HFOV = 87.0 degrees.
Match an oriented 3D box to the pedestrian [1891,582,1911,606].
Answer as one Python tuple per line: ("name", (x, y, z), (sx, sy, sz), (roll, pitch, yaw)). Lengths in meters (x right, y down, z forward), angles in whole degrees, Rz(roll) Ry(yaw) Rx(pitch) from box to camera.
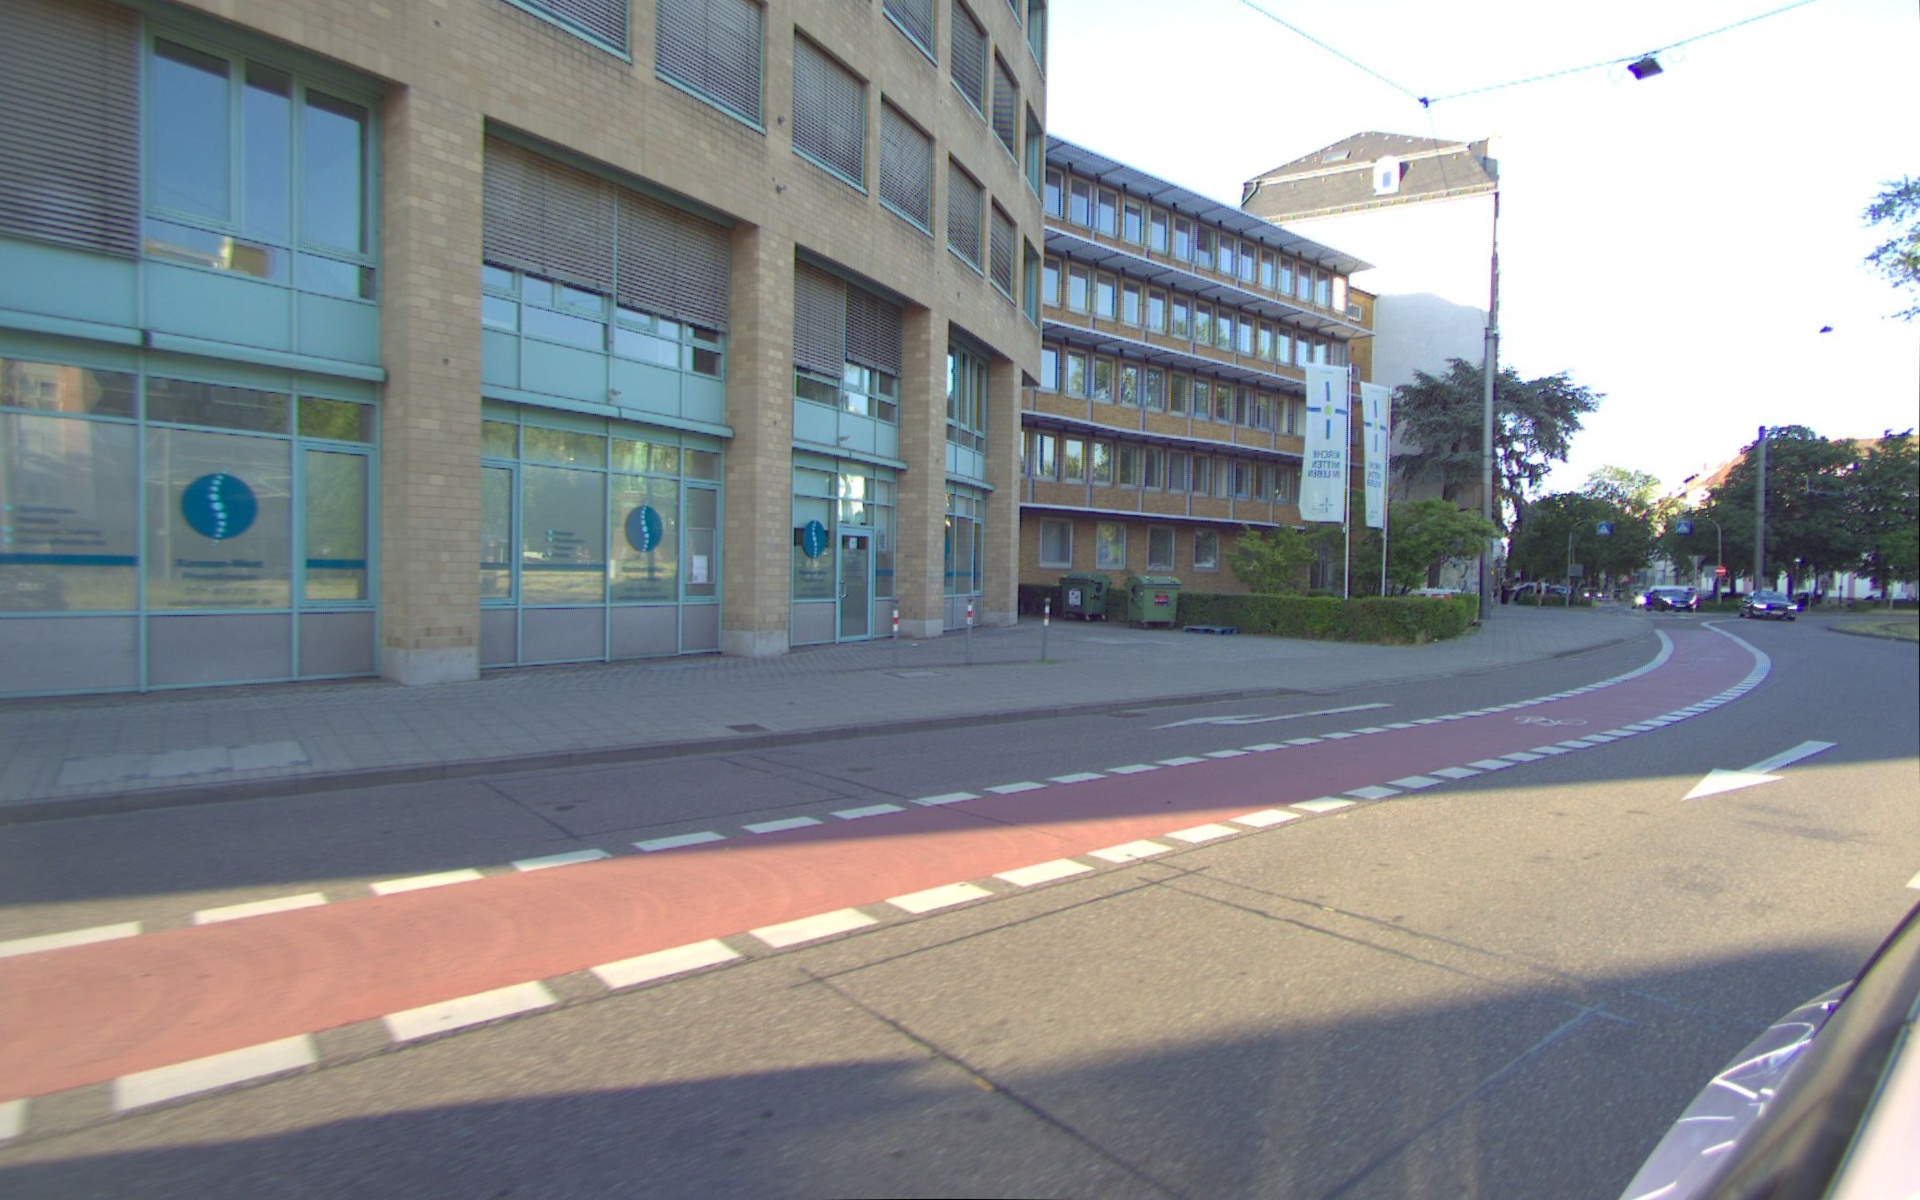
("pedestrian", (70.661, -0.439, 75.981), (0.769, 1.737, 0.771), (2, 1, -15))

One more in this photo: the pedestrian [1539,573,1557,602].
("pedestrian", (37.568, -0.774, 64.660), (0.804, 1.814, 0.593), (2, 1, -29))

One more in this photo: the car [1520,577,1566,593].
("car", (65.092, -1.635, 113.029), (4.360, 1.633, 1.712), (3, 1, 29))

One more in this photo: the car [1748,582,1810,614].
("car", (41.895, -0.101, 51.850), (1.806, 1.501, 4.090), (3, 1, 30))

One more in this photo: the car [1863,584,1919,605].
("car", (85.283, -0.514, 92.415), (1.671, 1.746, 4.009), (1, 1, -40))

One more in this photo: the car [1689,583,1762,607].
("car", (55.977, -0.403, 74.017), (4.057, 1.576, 1.836), (3, 1, 45))

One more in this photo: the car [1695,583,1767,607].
("car", (57.636, -0.373, 75.659), (4.057, 1.576, 1.836), (3, 1, 45))

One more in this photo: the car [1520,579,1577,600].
("car", (49.323, -0.902, 84.846), (4.037, 1.589, 1.817), (3, 1, 32))

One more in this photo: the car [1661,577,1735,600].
("car", (68.159, -1.117, 93.504), (2.082, 1.926, 5.081), (1, 1, -37))

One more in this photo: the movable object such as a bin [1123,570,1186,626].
("movable object such as a bin", (5.254, -0.059, 27.388), (1.316, 1.455, 0.976), (2, 1, -20))

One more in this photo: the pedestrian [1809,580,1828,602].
("pedestrian", (79.174, -0.852, 93.365), (0.988, 2.039, 0.831), (2, 0, -10))

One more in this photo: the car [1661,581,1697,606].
("car", (45.651, -0.388, 64.312), (1.810, 1.501, 4.083), (3, 1, 35))

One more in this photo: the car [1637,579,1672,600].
("car", (51.743, -0.769, 75.433), (1.807, 1.501, 4.090), (3, 1, 31))

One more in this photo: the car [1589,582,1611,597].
("car", (71.958, -1.187, 113.772), (1.810, 1.501, 4.081), (2, 1, 36))

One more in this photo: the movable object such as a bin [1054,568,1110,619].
("movable object such as a bin", (3.616, -0.196, 29.980), (1.341, 1.442, 0.909), (3, 1, 44))

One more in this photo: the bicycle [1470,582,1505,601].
("bicycle", (31.945, -0.526, 61.346), (1.839, 1.086, 0.425), (3, 1, 29))

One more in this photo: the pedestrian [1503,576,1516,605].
("pedestrian", (33.110, -0.579, 60.945), (0.573, 1.730, 0.713), (2, 1, 33))

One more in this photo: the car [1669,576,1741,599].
("car", (70.247, -1.186, 95.481), (1.931, 2.047, 5.081), (2, 1, -37))
